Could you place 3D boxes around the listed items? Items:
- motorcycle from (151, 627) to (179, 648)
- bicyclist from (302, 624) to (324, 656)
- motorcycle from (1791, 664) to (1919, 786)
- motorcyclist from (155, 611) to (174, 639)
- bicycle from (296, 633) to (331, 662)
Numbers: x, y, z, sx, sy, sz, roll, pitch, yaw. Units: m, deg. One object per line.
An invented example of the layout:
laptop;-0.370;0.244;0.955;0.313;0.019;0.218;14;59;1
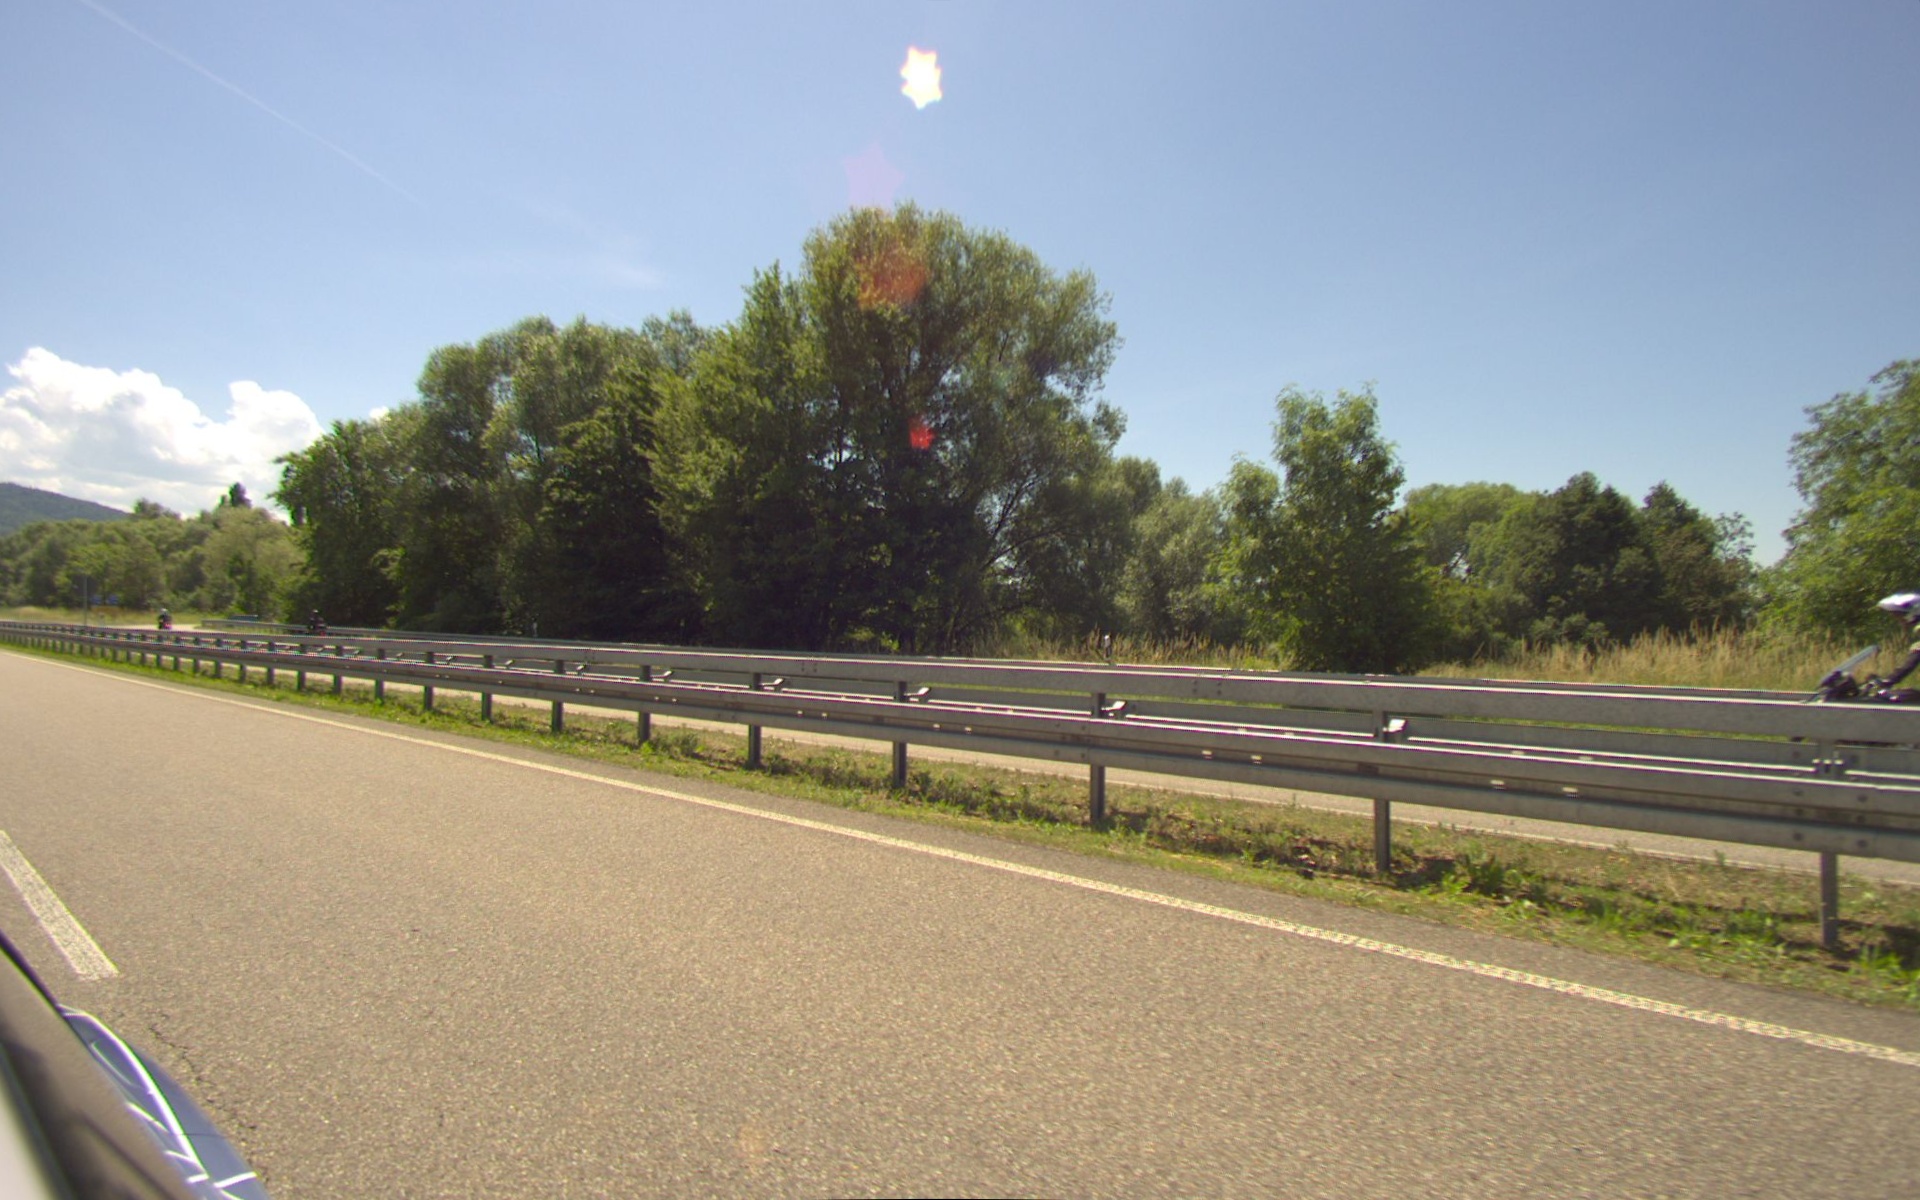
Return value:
motorcycle;-43.616;2.048;55.526;2.665;1.072;0.719;-1;-1;41
bicyclist;-26.998;1.662;42.228;0.607;1.287;0.607;-1;-1;41
motorcycle;9.920;1.172;9.041;3.816;1.072;1.052;-1;-3;41
motorcyclist;-43.702;1.356;55.583;0.809;1.493;0.710;-1;-1;42
bicycle;-26.995;1.968;42.248;2.279;1.166;0.607;-1;-1;41
